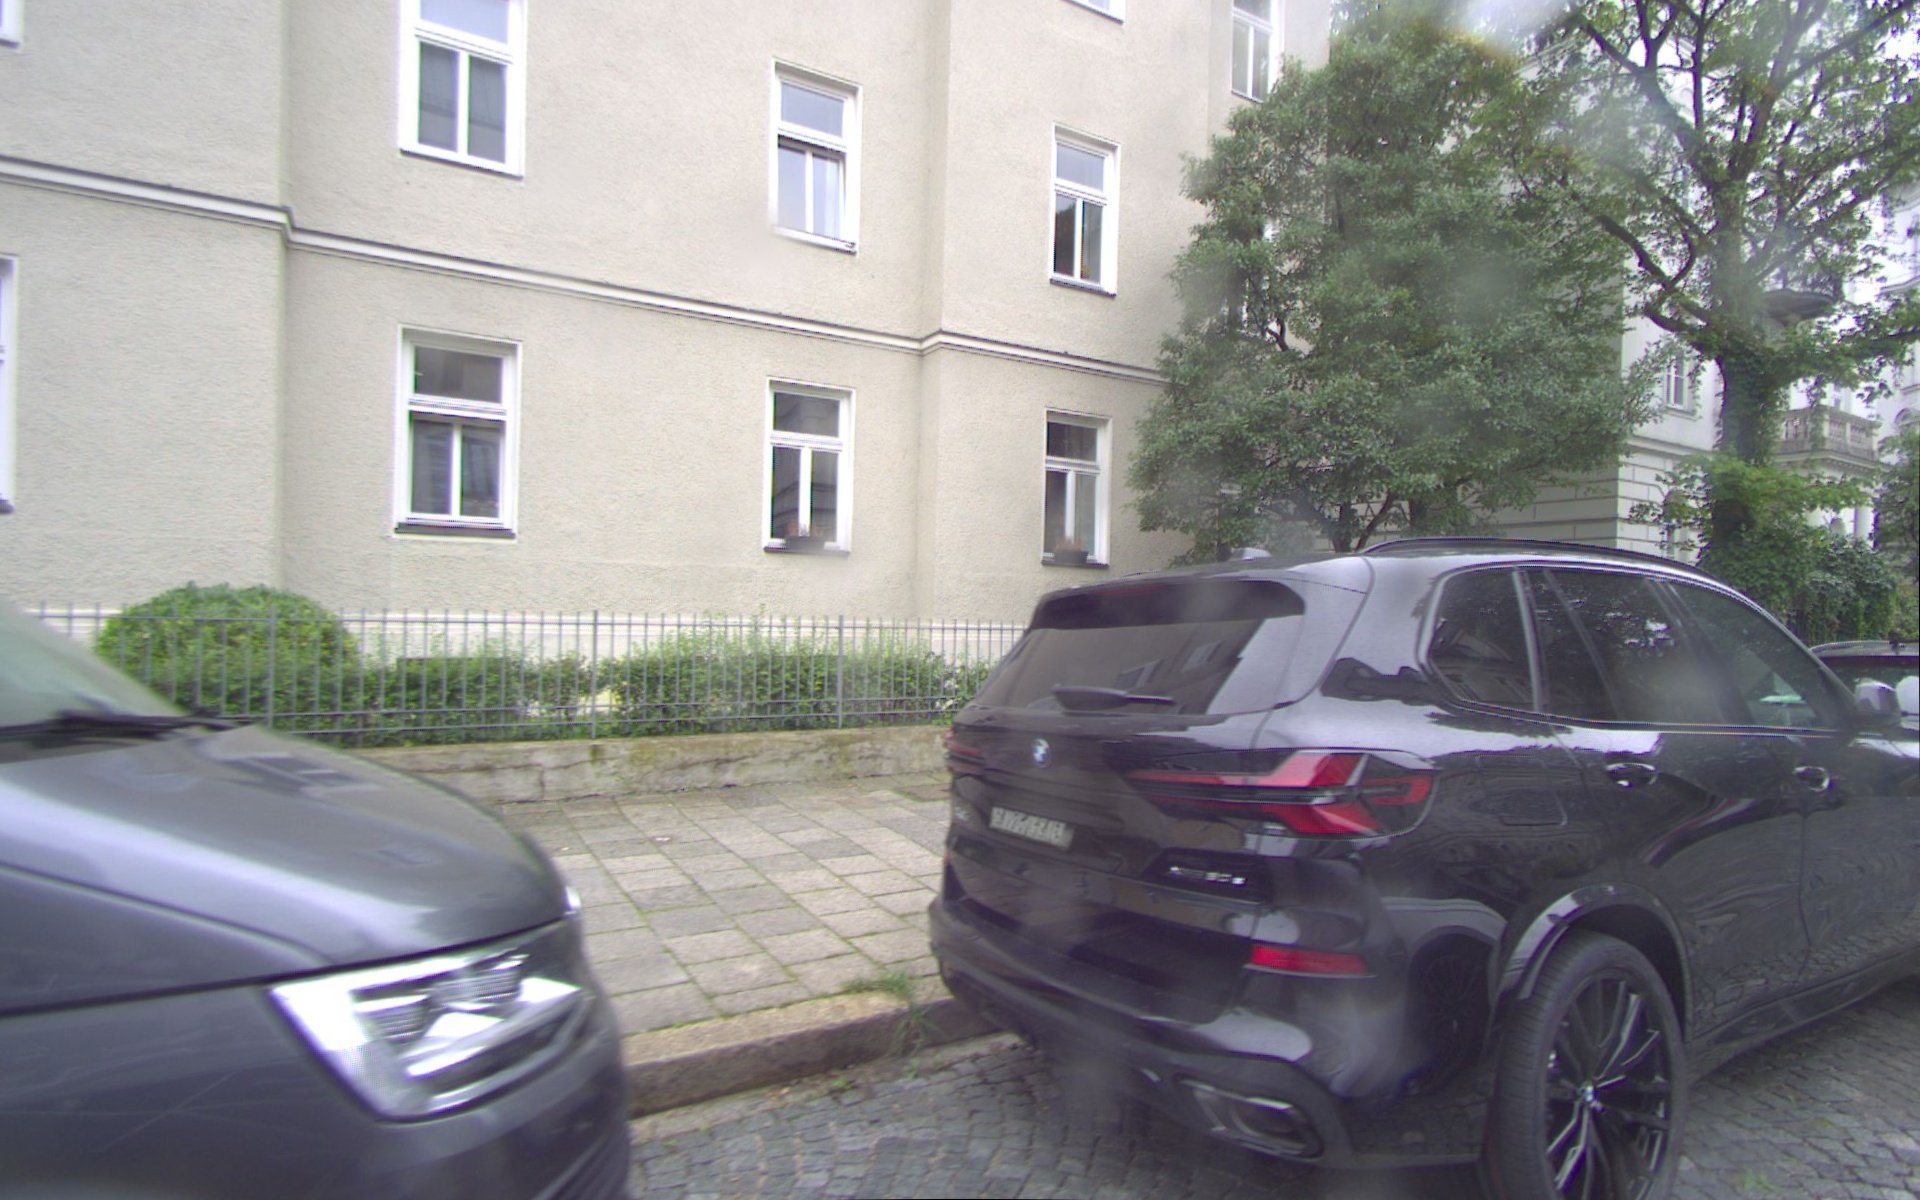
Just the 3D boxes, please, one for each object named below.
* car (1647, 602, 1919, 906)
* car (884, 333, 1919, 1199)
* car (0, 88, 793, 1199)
[{"bbox_3d":[7.010,0.871,6.770,4.957,1.581,1.970,2,-2,-29],"label":"car"},{"bbox_3d":[2.427,0.626,3.870,5.118,1.942,1.983,2,-4,-31],"label":"car"},{"bbox_3d":[-2.758,0.432,1.021,4.772,1.942,1.864,2,-2,-31],"label":"car"}]
